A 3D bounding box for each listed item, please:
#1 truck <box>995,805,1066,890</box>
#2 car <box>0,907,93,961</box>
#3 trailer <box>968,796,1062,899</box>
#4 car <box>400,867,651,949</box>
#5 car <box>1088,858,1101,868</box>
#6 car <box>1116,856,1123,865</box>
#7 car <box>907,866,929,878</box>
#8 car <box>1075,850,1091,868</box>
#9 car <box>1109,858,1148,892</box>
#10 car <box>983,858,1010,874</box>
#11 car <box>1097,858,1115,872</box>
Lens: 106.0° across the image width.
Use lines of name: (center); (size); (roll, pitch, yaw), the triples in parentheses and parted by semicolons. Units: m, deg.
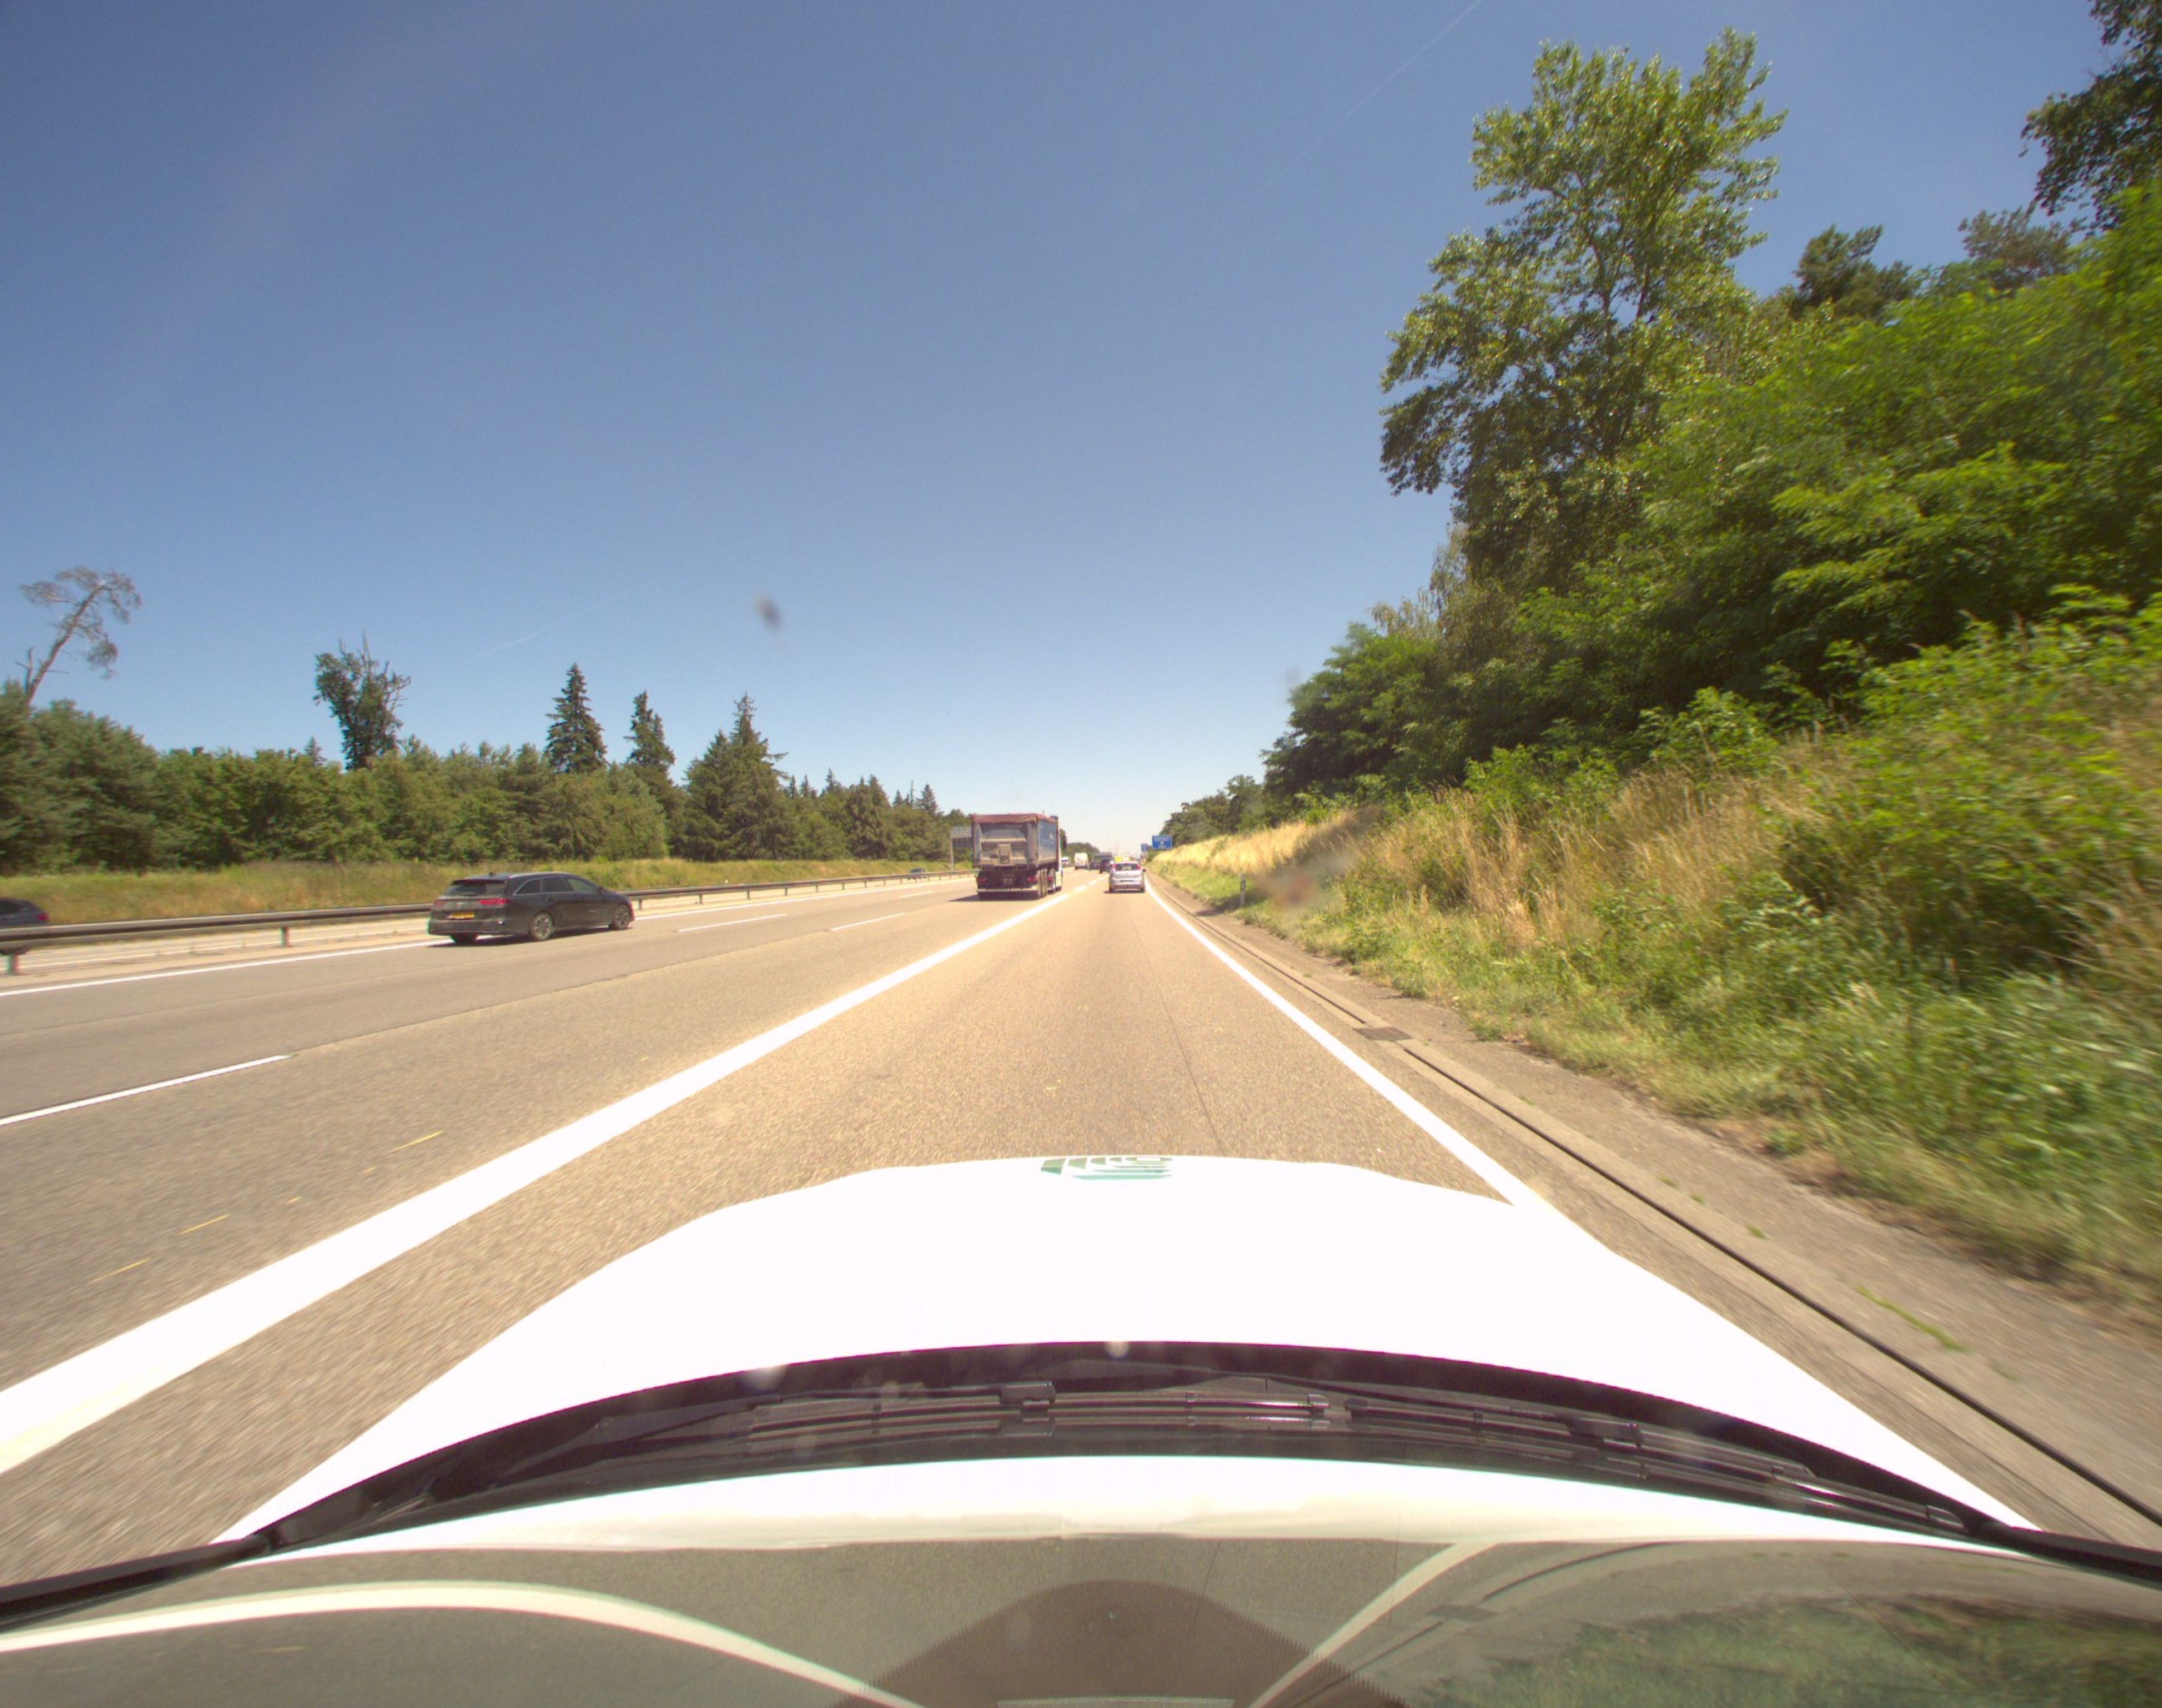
truck: (-2.336, -0.284, 39.544); (2.673, 3.758, 5.949); (-1, 0, 3)
car: (-32.097, 2.382, 23.413); (1.781, 1.420, 4.442); (0, 0, 5)
trailer: (-2.579, -0.257, 34.958); (2.725, 3.758, 9.116); (-1, 0, 3)
car: (-11.891, 1.071, 17.995); (1.824, 1.431, 5.005); (-1, 0, 4)
car: (1.982, 1.354, 121.770); (1.887, 1.469, 4.262); (0, 0, 1)
car: (8.489, 1.490, 179.580); (1.605, 2.013, 4.003); (0, 0, 3)
car: (-22.201, 2.433, 111.029); (1.684, 1.391, 4.680); (-3, 0, 4)
car: (0.346, 0.823, 135.679); (2.250, 2.950, 6.118); (0, 0, 3)
car: (2.205, 0.949, 38.483); (1.713, 1.491, 3.739); (0, 0, 2)
car: (-8.038, 1.118, 77.684); (1.696, 1.474, 4.602); (-1, 0, 4)
car: (2.922, 1.259, 94.147); (1.823, 1.672, 4.006); (0, -1, 5)
